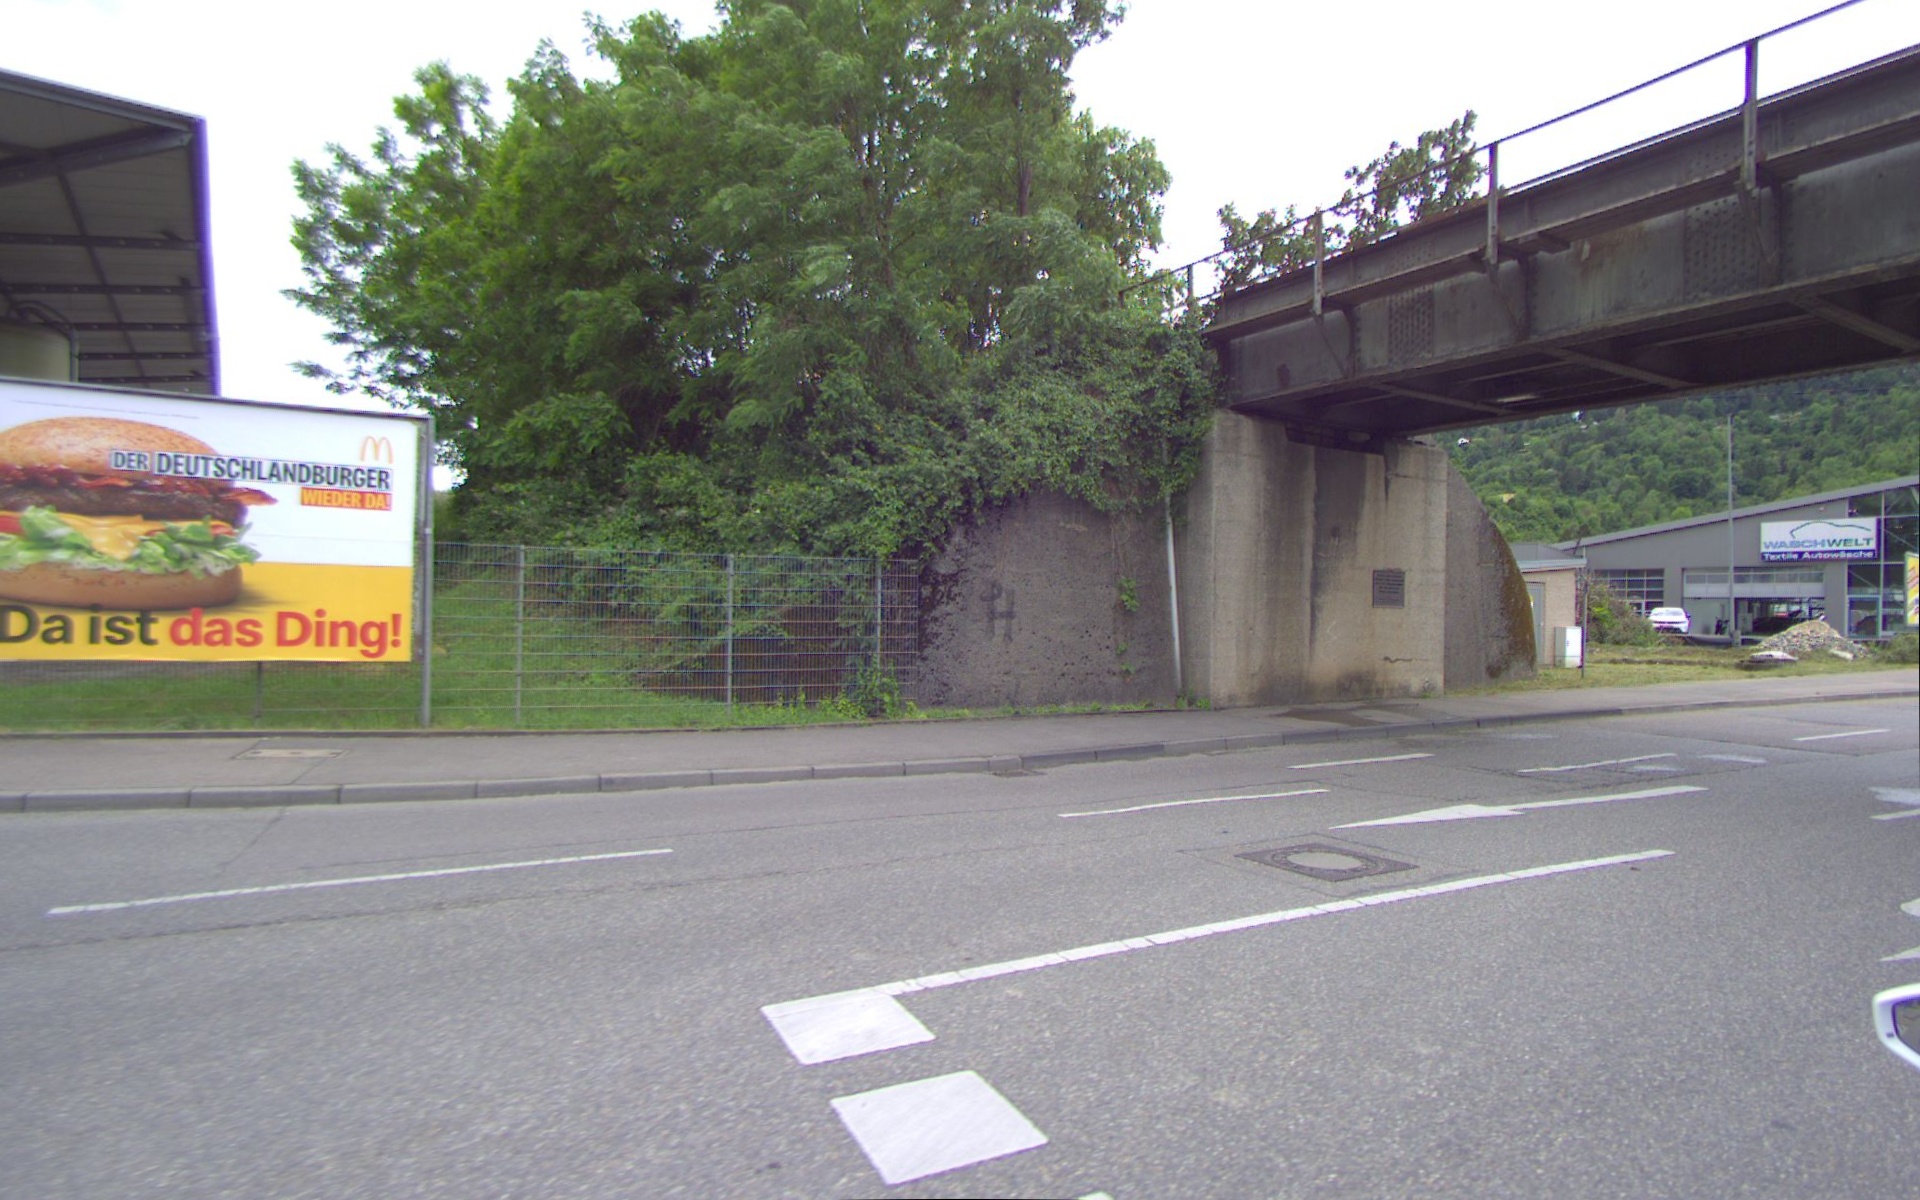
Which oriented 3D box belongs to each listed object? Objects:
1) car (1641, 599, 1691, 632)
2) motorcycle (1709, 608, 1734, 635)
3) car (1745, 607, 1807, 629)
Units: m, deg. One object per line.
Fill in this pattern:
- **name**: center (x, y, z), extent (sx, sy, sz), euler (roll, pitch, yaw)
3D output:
- **car**: center (35.824, 0.795, 50.951), extent (1.968, 1.556, 3.985), euler (1, 0, 36)
- **motorcycle**: center (50.505, 1.409, 66.612), extent (2.345, 1.733, 0.832), euler (1, 0, -42)
- **car**: center (67.393, 1.480, 82.985), extent (3.941, 1.751, 1.990), euler (1, 0, 41)
